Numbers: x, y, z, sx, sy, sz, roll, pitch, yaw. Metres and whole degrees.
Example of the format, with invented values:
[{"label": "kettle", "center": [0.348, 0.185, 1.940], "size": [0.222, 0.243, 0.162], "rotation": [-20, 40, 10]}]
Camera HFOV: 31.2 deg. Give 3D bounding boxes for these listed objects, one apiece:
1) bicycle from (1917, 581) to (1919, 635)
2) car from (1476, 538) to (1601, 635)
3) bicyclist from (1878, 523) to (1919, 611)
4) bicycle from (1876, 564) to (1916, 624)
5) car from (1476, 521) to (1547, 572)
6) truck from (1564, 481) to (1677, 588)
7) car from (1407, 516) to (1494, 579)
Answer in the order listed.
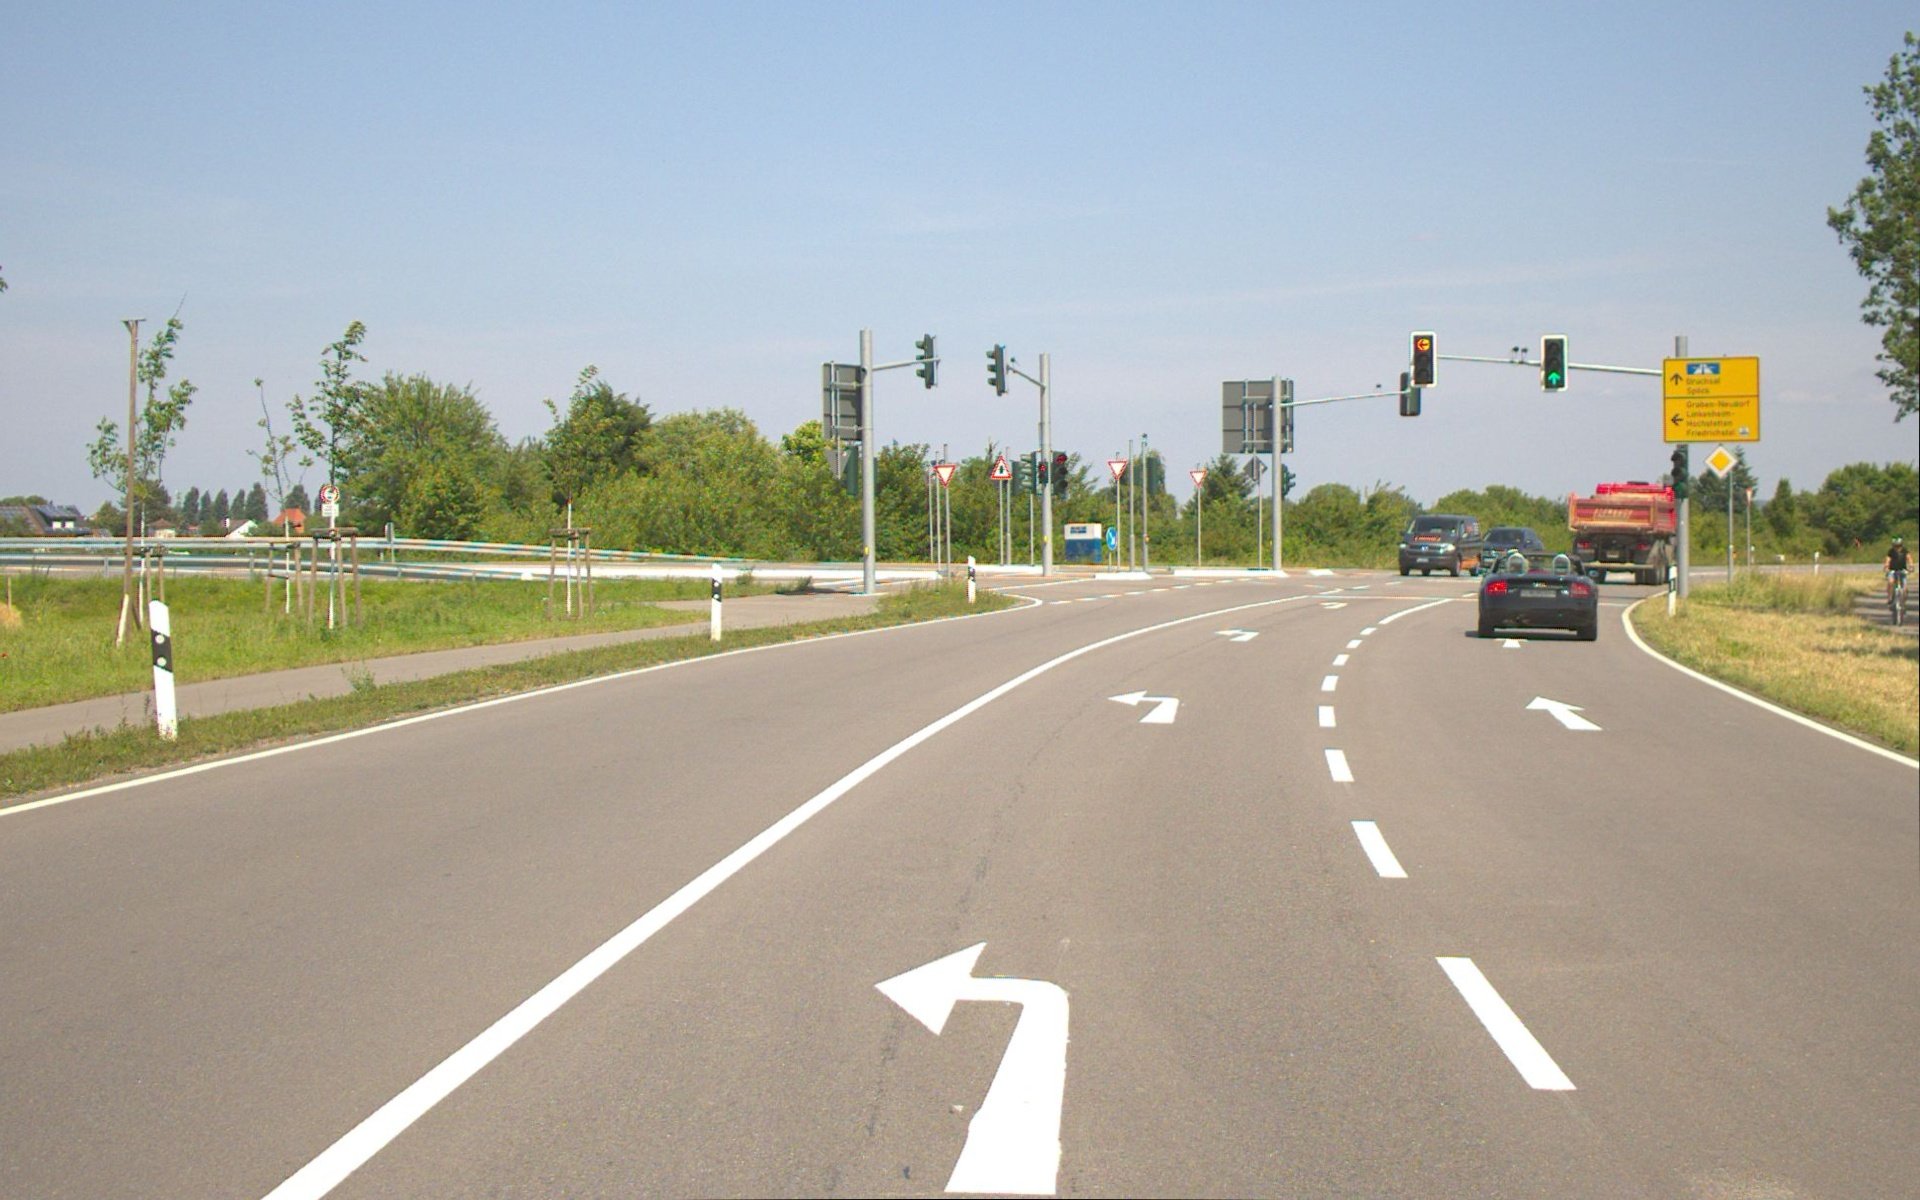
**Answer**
[{"label": "bicycle", "center": [18.522, 0.071, 64.996], "size": [0.699, 1.206, 2.050], "rotation": [3, 1, 14]}, {"label": "car", "center": [8.703, -0.190, 51.753], "size": [1.748, 1.371, 3.677], "rotation": [2, 0, 9]}, {"label": "bicyclist", "center": [18.971, -0.675, 69.477], "size": [0.588, 1.728, 1.171], "rotation": [5, 3, 18]}, {"label": "bicycle", "center": [18.924, -0.126, 69.469], "size": [0.606, 1.172, 2.049], "rotation": [4, 2, 18]}, {"label": "car", "center": [19.511, -1.895, 121.440], "size": [1.932, 1.733, 4.885], "rotation": [1, 1, 15]}, {"label": "truck", "center": [19.934, -1.922, 103.456], "size": [2.716, 3.042, 8.158], "rotation": [1, 0, 15]}, {"label": "car", "center": [15.801, -1.702, 110.559], "size": [1.932, 1.971, 4.680], "rotation": [1, 1, 18]}]
